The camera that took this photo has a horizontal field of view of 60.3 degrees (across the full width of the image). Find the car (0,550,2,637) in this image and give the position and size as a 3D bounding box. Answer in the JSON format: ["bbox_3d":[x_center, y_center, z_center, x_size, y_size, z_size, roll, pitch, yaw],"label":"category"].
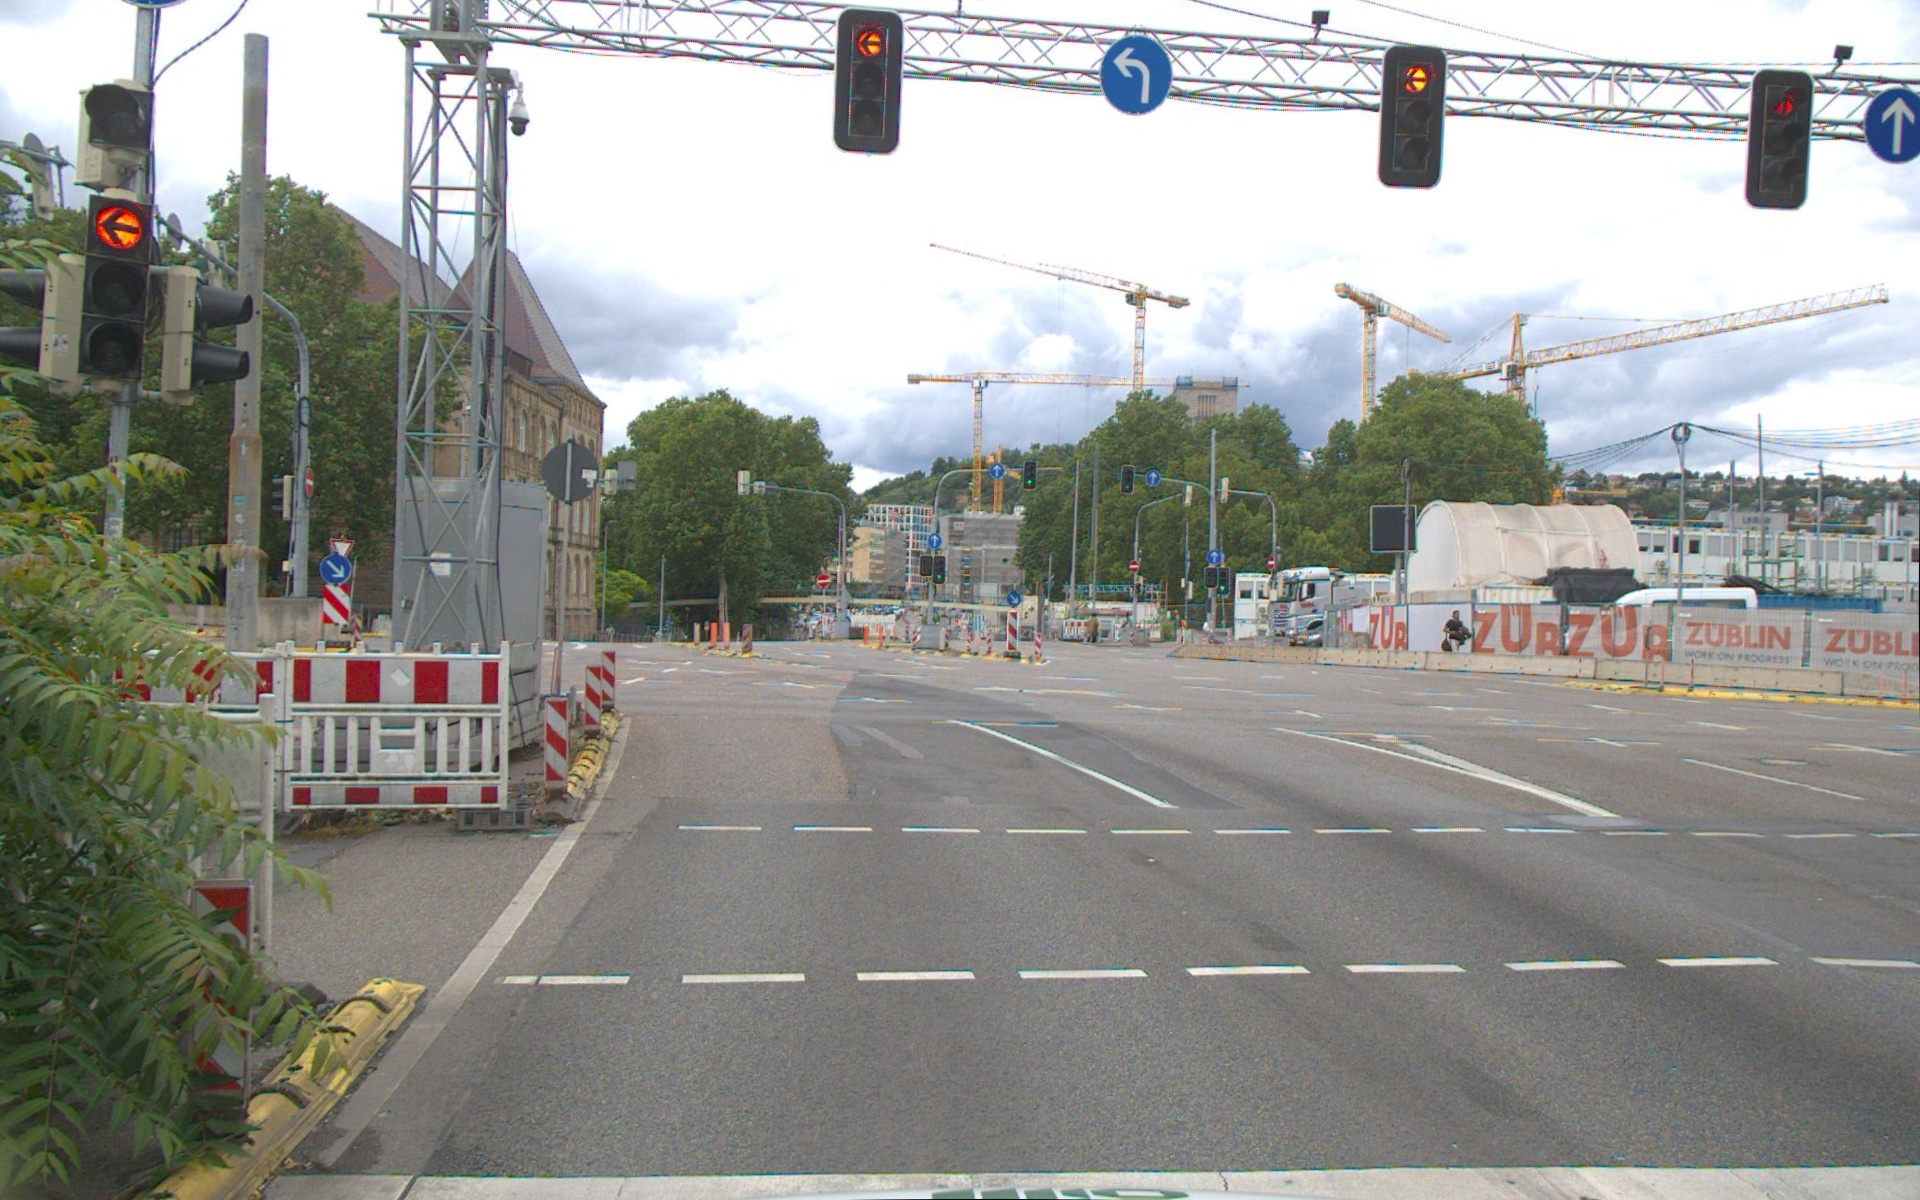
[{"bbox_3d":[-19.706,-0.122,29.351,4.239,1.705,1.993,2,0,-14],"label":"car"}]

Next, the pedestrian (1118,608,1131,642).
[{"bbox_3d":[8.298,1.252,83.473,0.555,1.718,0.471,2,0,-1],"label":"pedestrian"}]

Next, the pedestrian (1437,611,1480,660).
[{"bbox_3d":[14.570,1.029,48.354,0.785,1.402,0.899,2,0,-21],"label":"pedestrian"}]

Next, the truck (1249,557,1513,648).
[{"bbox_3d":[21.000,0.158,82.321,12.837,4.111,3.927,1,0,-21],"label":"truck"}]

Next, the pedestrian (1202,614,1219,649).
[{"bbox_3d":[12.703,1.588,83.815,0.609,1.718,0.710,2,0,28],"label":"pedestrian"}]

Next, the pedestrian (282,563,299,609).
[{"bbox_3d":[-29.459,-0.615,72.806,0.523,2.049,0.421,2,0,-44],"label":"pedestrian"}]

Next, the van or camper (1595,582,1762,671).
[{"bbox_3d":[20.731,0.740,47.912,4.123,2.398,2.002,1,0,14],"label":"van or camper"}]

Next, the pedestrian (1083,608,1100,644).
[{"bbox_3d":[6.556,1.296,82.422,0.714,1.718,0.677,2,0,-1],"label":"pedestrian"}]

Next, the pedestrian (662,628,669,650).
[{"bbox_3d":[-27.716,3.697,155.713,0.513,2.049,0.566,1,0,-1],"label":"pedestrian"}]

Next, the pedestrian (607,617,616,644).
[{"bbox_3d":[-26.921,2.360,127.885,0.513,2.049,0.566,1,0,-1],"label":"pedestrian"}]

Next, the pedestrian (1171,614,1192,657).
[{"bbox_3d":[9.067,1.443,67.595,0.714,1.718,0.677,2,0,-1],"label":"pedestrian"}]
